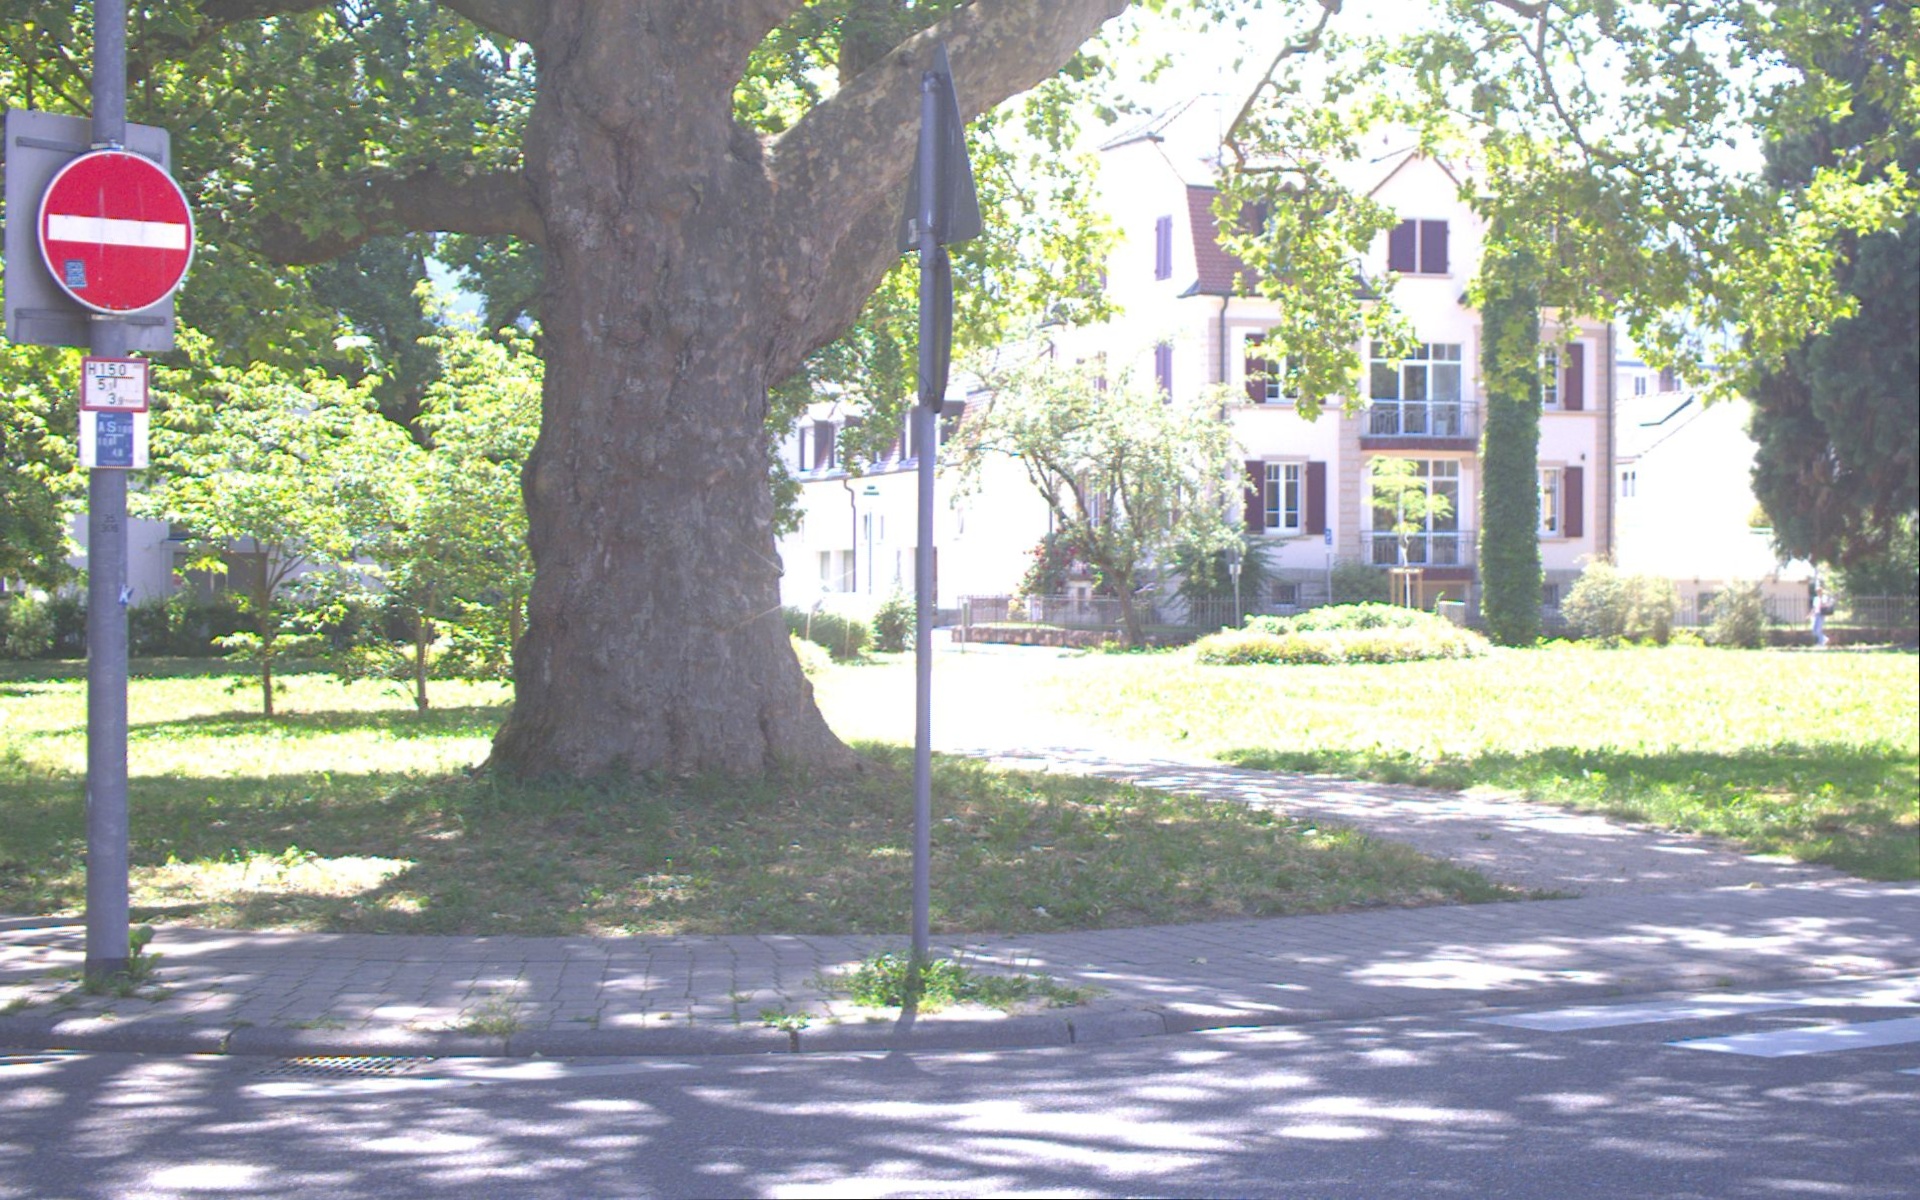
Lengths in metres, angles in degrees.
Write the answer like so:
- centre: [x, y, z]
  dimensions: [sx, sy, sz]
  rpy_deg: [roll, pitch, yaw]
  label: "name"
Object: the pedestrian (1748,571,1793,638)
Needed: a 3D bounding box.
- centre: [17.175, 0.093, 72.856]
  dimensions: [0.825, 1.366, 0.618]
  rpy_deg: [3, 2, 17]
  label: "pedestrian"
